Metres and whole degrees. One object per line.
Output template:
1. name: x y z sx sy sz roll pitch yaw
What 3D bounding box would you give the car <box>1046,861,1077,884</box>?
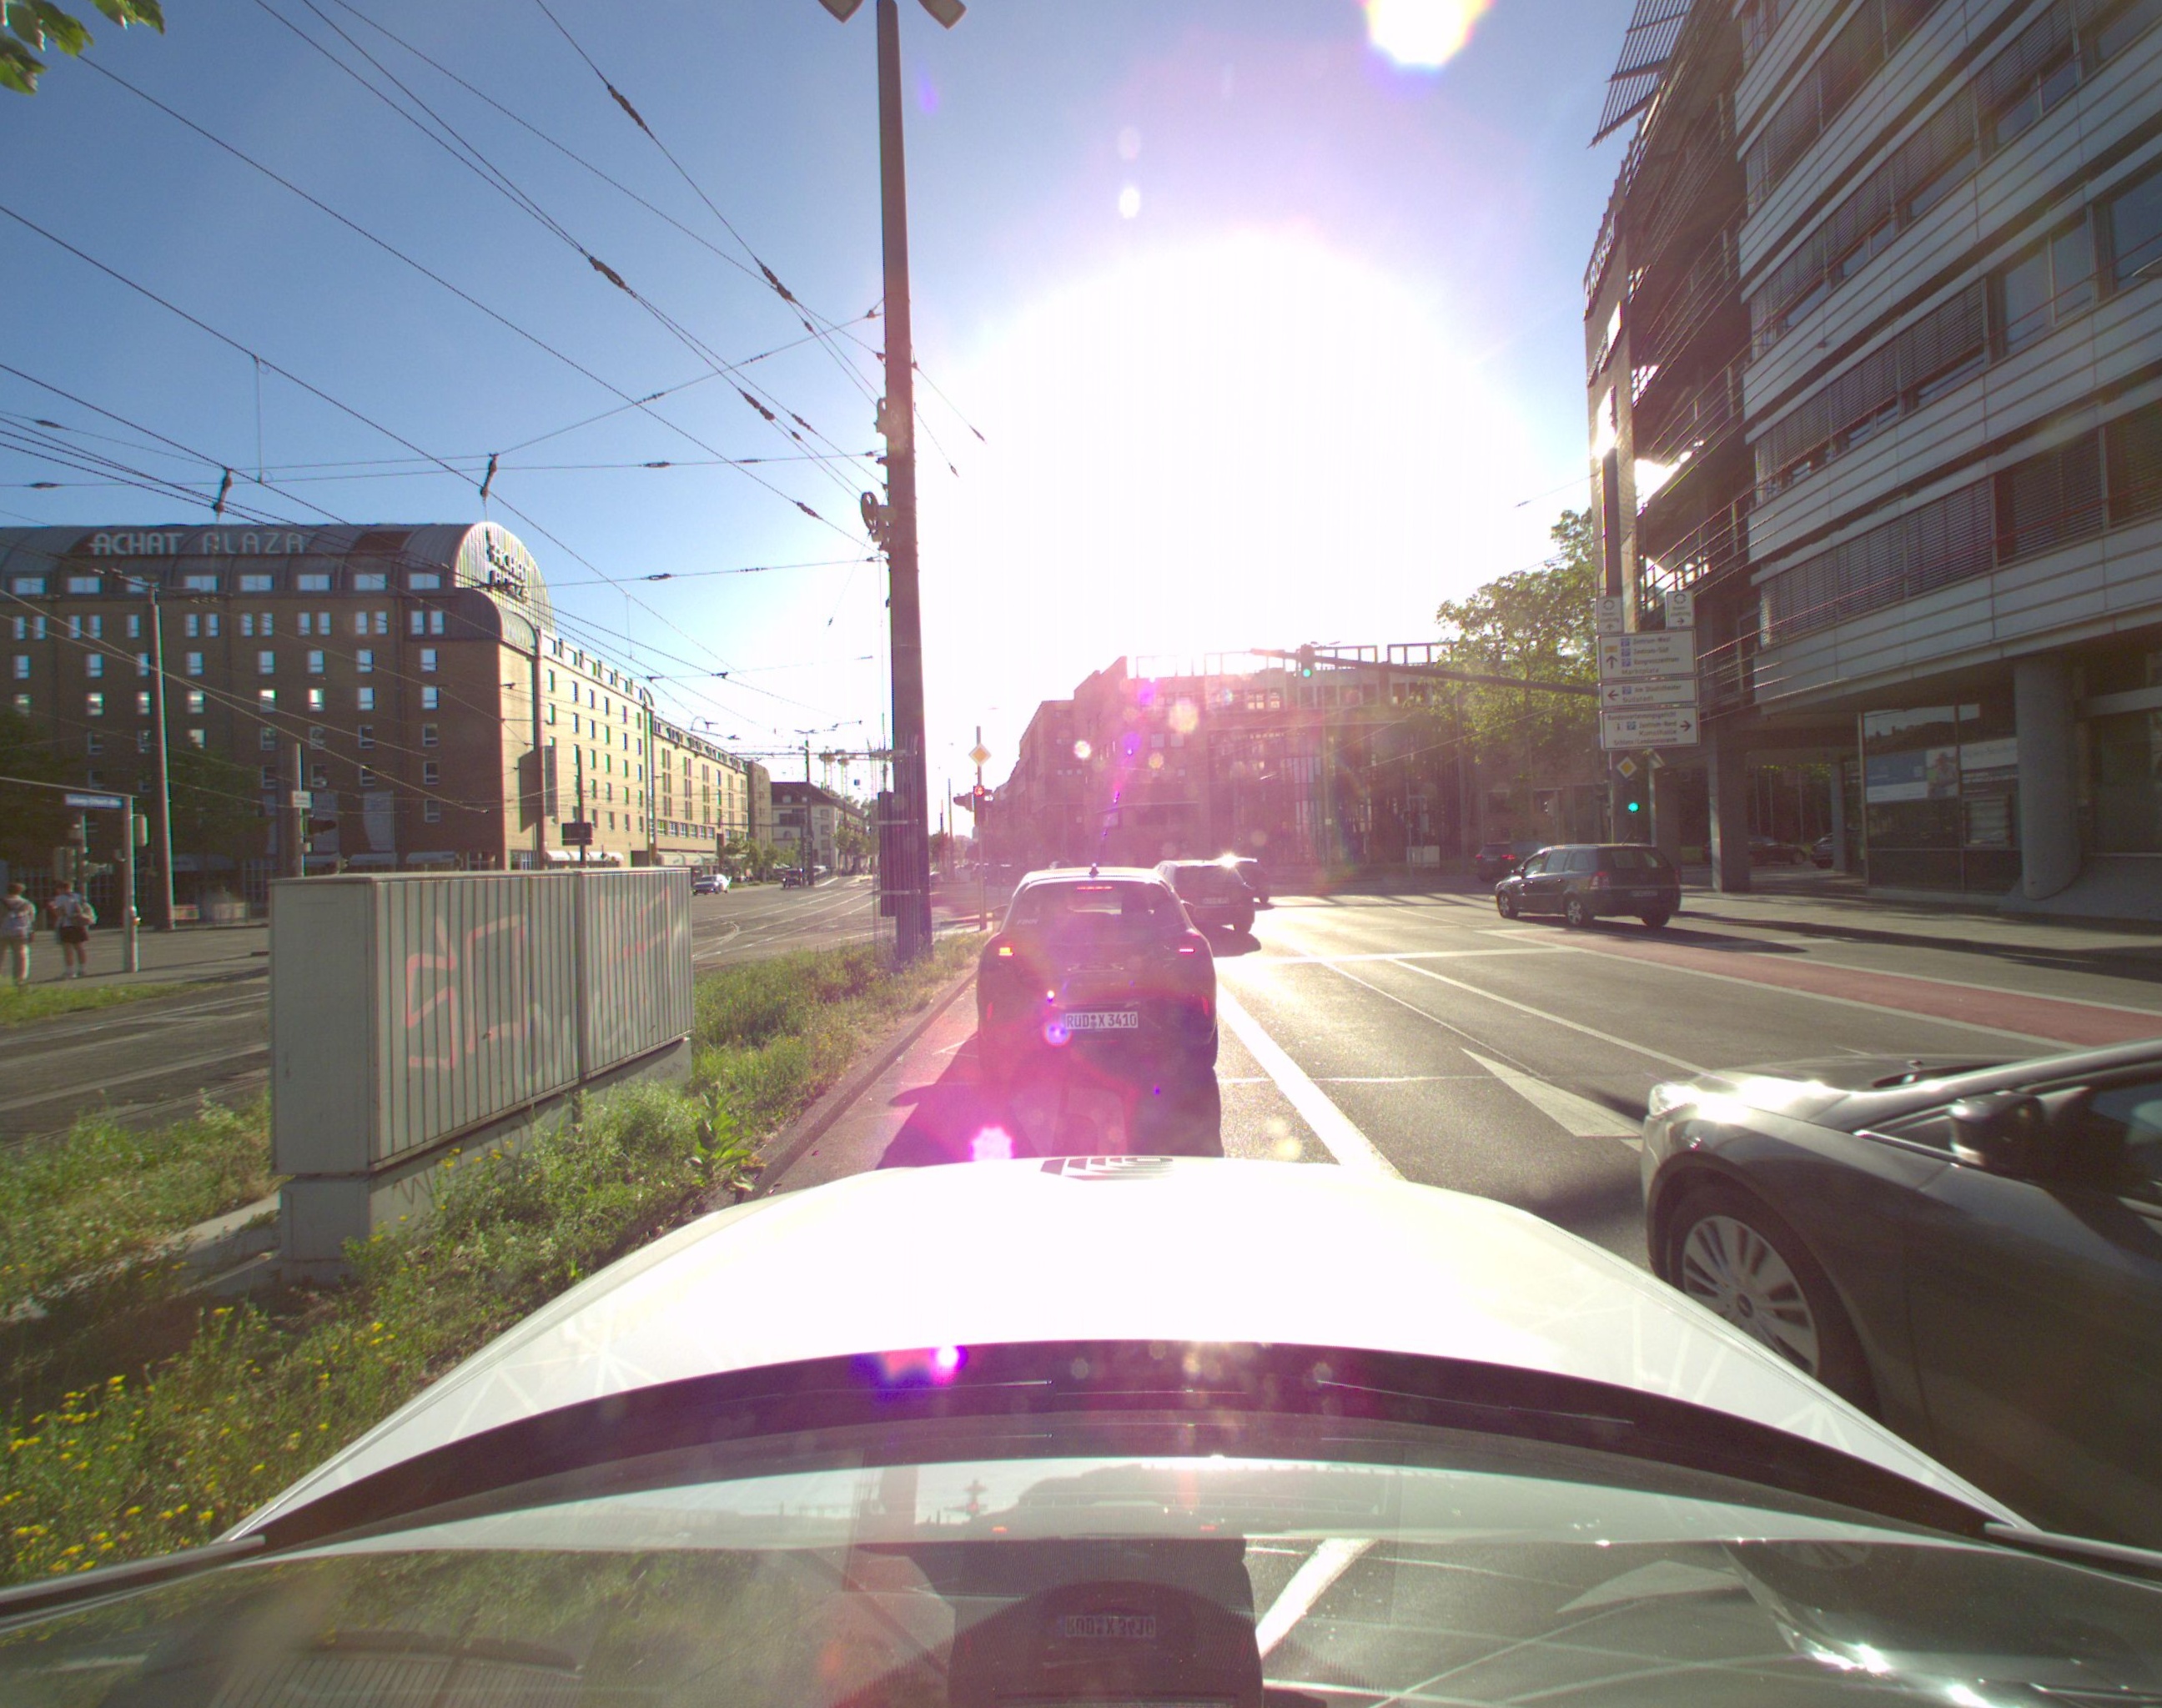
1. car: -1.356 1.229 55.317 1.805 1.457 3.991 -1 0 -6

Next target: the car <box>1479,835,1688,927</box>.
1. car: 10.326 0.506 17.200 1.682 1.629 4.463 -2 0 1

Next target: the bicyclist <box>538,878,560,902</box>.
1. bicyclist: -32.375 2.169 49.552 0.756 1.375 0.949 -2 0 -6

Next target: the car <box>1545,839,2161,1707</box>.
1. car: 2.588 0.699 0.990 1.680 1.433 4.153 -2 0 0

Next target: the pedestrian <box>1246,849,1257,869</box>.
1. pedestrian: 14.254 0.428 68.056 0.894 1.617 0.562 -2 0 10

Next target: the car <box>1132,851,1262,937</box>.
1. car: 2.272 0.748 17.182 1.807 1.492 4.490 -3 0 -3

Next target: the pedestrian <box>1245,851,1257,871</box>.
1. pedestrian: 14.053 0.561 67.467 0.894 1.617 0.562 -2 0 10

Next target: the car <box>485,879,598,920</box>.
1. car: -24.531 2.020 37.293 1.987 1.596 4.736 -2 0 -1

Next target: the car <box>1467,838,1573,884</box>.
1. car: 18.759 0.275 34.751 4.342 1.750 1.980 -2 0 -30

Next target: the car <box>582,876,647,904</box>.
1. car: -28.785 2.212 50.353 1.719 1.422 4.139 -4 0 -4

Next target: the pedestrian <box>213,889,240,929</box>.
1. pedestrian: -44.695 2.871 42.596 0.663 2.013 0.678 -2 0 3

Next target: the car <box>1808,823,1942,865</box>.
1. car: 32.679 -0.396 33.581 3.981 1.651 1.861 -1 0 -6

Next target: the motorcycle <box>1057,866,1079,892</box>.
1. motorcycle: -0.600 1.133 36.984 0.774 1.115 1.964 -2 0 -7

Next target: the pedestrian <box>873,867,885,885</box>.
1. pedestrian: -18.691 2.051 75.440 0.772 1.640 0.735 -2 -1 -42

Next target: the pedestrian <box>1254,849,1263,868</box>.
1. pedestrian: 14.992 0.376 68.789 0.733 1.617 0.562 -2 0 10

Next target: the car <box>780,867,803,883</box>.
1. car: -28.171 2.040 79.344 1.748 1.505 3.860 -2 0 -15

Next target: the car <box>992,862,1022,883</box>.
1. car: -5.236 1.264 57.092 1.737 1.349 3.986 -2 0 -10

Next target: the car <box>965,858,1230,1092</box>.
1. car: 0.211 0.783 7.176 1.642 1.433 4.003 -2 0 3

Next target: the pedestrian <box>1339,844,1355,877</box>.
1. pedestrian: 14.251 0.360 43.644 0.700 1.759 0.564 -2 -1 27

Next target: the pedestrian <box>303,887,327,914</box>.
1. pedestrian: -43.894 2.664 46.661 0.674 1.503 0.659 -2 0 -1

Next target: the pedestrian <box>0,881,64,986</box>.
1. pedestrian: -19.202 1.433 14.762 0.630 1.830 0.662 -2 0 -5

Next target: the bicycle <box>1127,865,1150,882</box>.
1. bicycle: 3.539 1.198 50.124 0.493 0.997 2.312 -2 0 -20

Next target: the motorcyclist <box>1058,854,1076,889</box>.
1. motorcyclist: -0.633 0.789 36.895 0.743 1.530 1.019 -2 0 -4

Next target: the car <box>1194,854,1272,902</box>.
1. car: 4.981 0.759 27.194 1.802 1.457 3.998 -1 0 -1

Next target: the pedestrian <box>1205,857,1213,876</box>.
1. pedestrian: 10.171 0.990 64.585 0.527 1.430 0.598 -2 0 1

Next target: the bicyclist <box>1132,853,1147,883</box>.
1. bicyclist: 3.568 0.873 49.935 0.579 1.791 0.858 -2 0 -18

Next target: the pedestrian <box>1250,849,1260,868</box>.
1. pedestrian: 14.882 0.386 69.713 0.733 1.617 0.562 -2 0 10

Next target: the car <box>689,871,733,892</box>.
1. car: -27.992 2.067 61.733 1.569 1.449 3.996 -2 0 -3

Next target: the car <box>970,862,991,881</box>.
1. car: -9.494 1.612 76.843 1.737 1.651 3.987 -2 0 -9

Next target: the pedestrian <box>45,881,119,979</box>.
1. pedestrian: -19.246 1.440 15.705 0.562 1.817 0.662 -2 0 -5
